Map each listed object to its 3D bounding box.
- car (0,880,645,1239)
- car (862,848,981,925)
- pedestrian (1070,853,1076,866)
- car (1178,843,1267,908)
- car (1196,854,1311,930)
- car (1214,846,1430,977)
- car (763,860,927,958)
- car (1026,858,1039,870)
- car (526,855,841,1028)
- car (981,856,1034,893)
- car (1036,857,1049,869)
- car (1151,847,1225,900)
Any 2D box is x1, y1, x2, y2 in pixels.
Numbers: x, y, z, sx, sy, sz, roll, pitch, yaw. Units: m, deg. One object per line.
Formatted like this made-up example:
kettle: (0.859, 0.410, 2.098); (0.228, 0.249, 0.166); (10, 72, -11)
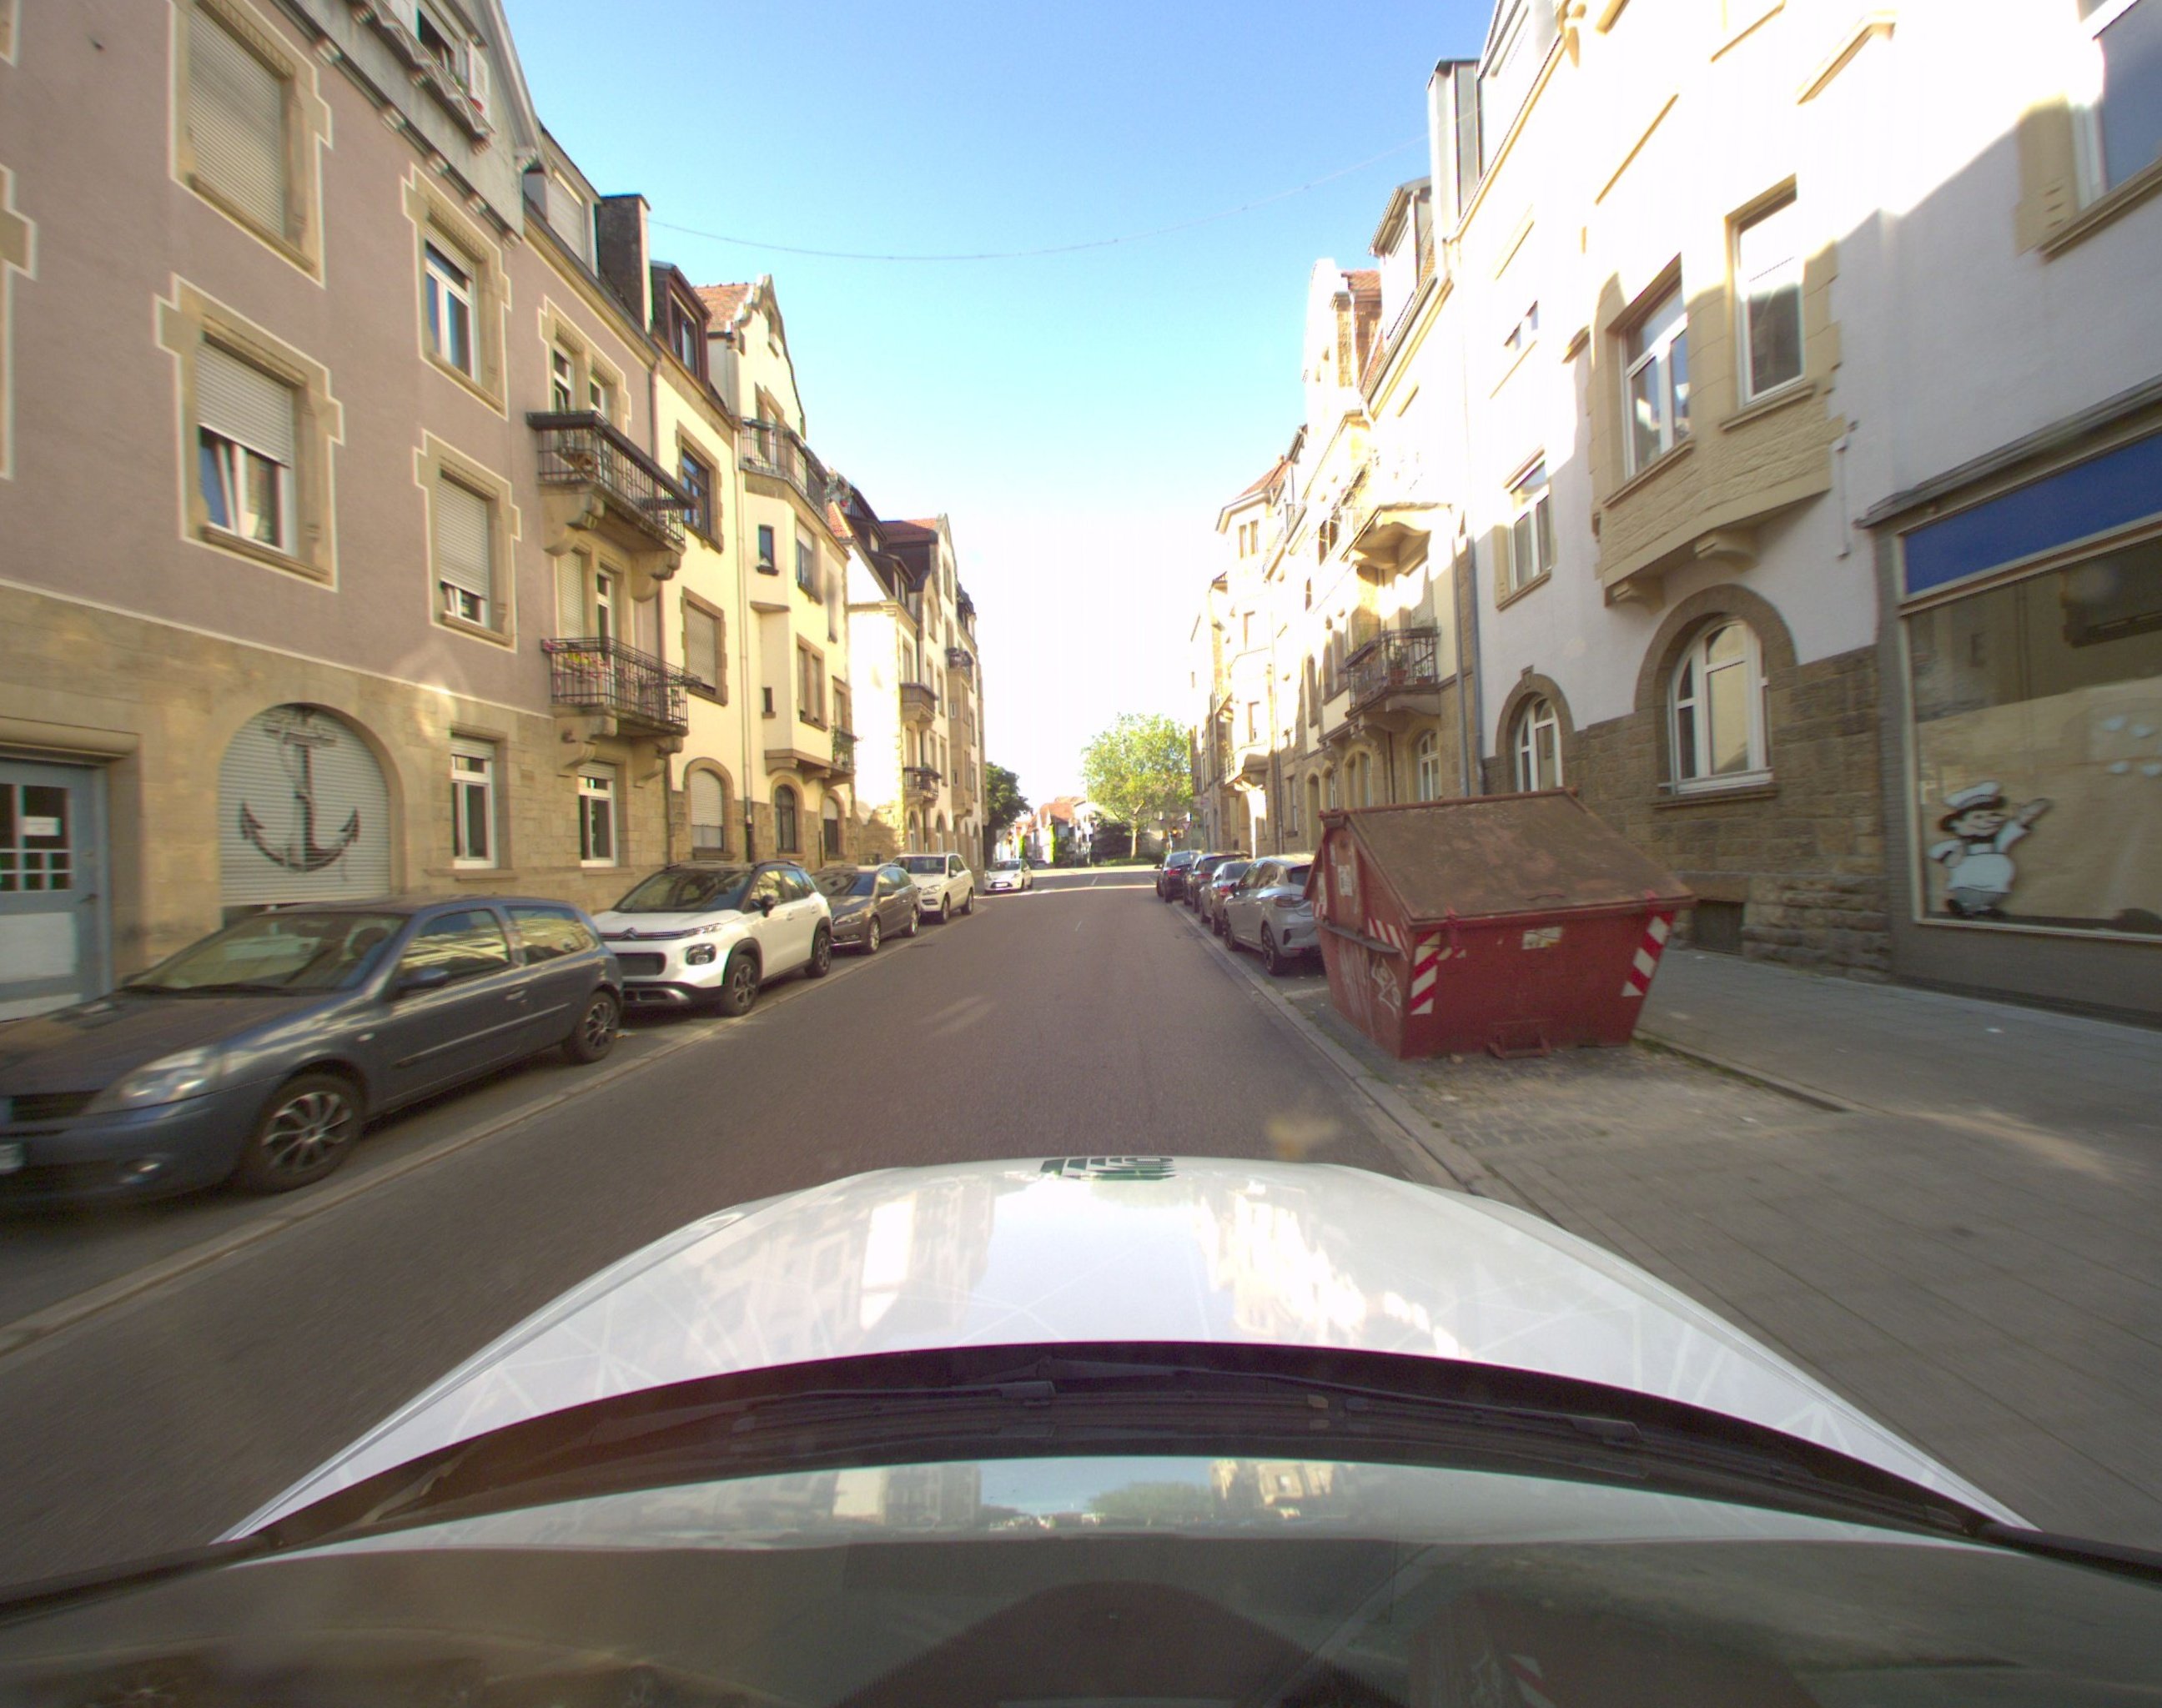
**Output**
car: (-4.724, 0.952, 5.367); (1.666, 1.393, 3.667); (1, 0, 1)
car: (-3.959, 0.747, 21.100); (1.884, 1.722, 4.730); (-1, 0, 3)
pedestrian: (-1.034, 0.719, 104.600); (0.631, 1.750, 0.659); (-2, -1, 0)
car: (3.563, 0.489, 21.207); (1.645, 1.442, 4.260); (-3, 0, 2)
car: (3.268, 0.660, 16.107); (1.685, 1.254, 3.945); (-2, 0, 4)
car: (3.088, 0.654, 11.265); (1.781, 1.429, 3.806); (-2, 0, -1)
car: (-4.186, 0.904, 15.171); (1.567, 1.487, 4.283); (-1, 0, 3)
car: (-8.240, 1.723, 139.383); (1.991, 2.013, 3.992); (-3, 0, -6)
car: (-4.348, 0.828, 9.710); (1.709, 1.583, 4.021); (1, 0, 1)
car: (-3.181, 0.877, 36.085); (1.626, 1.464, 3.740); (-2, 0, 5)
car: (-5.210, 1.218, 111.569); (1.669, 1.483, 3.520); (-2, -1, -1)
car: (3.311, 0.562, 25.948); (1.858, 1.462, 4.342); (-3, 0, 2)
